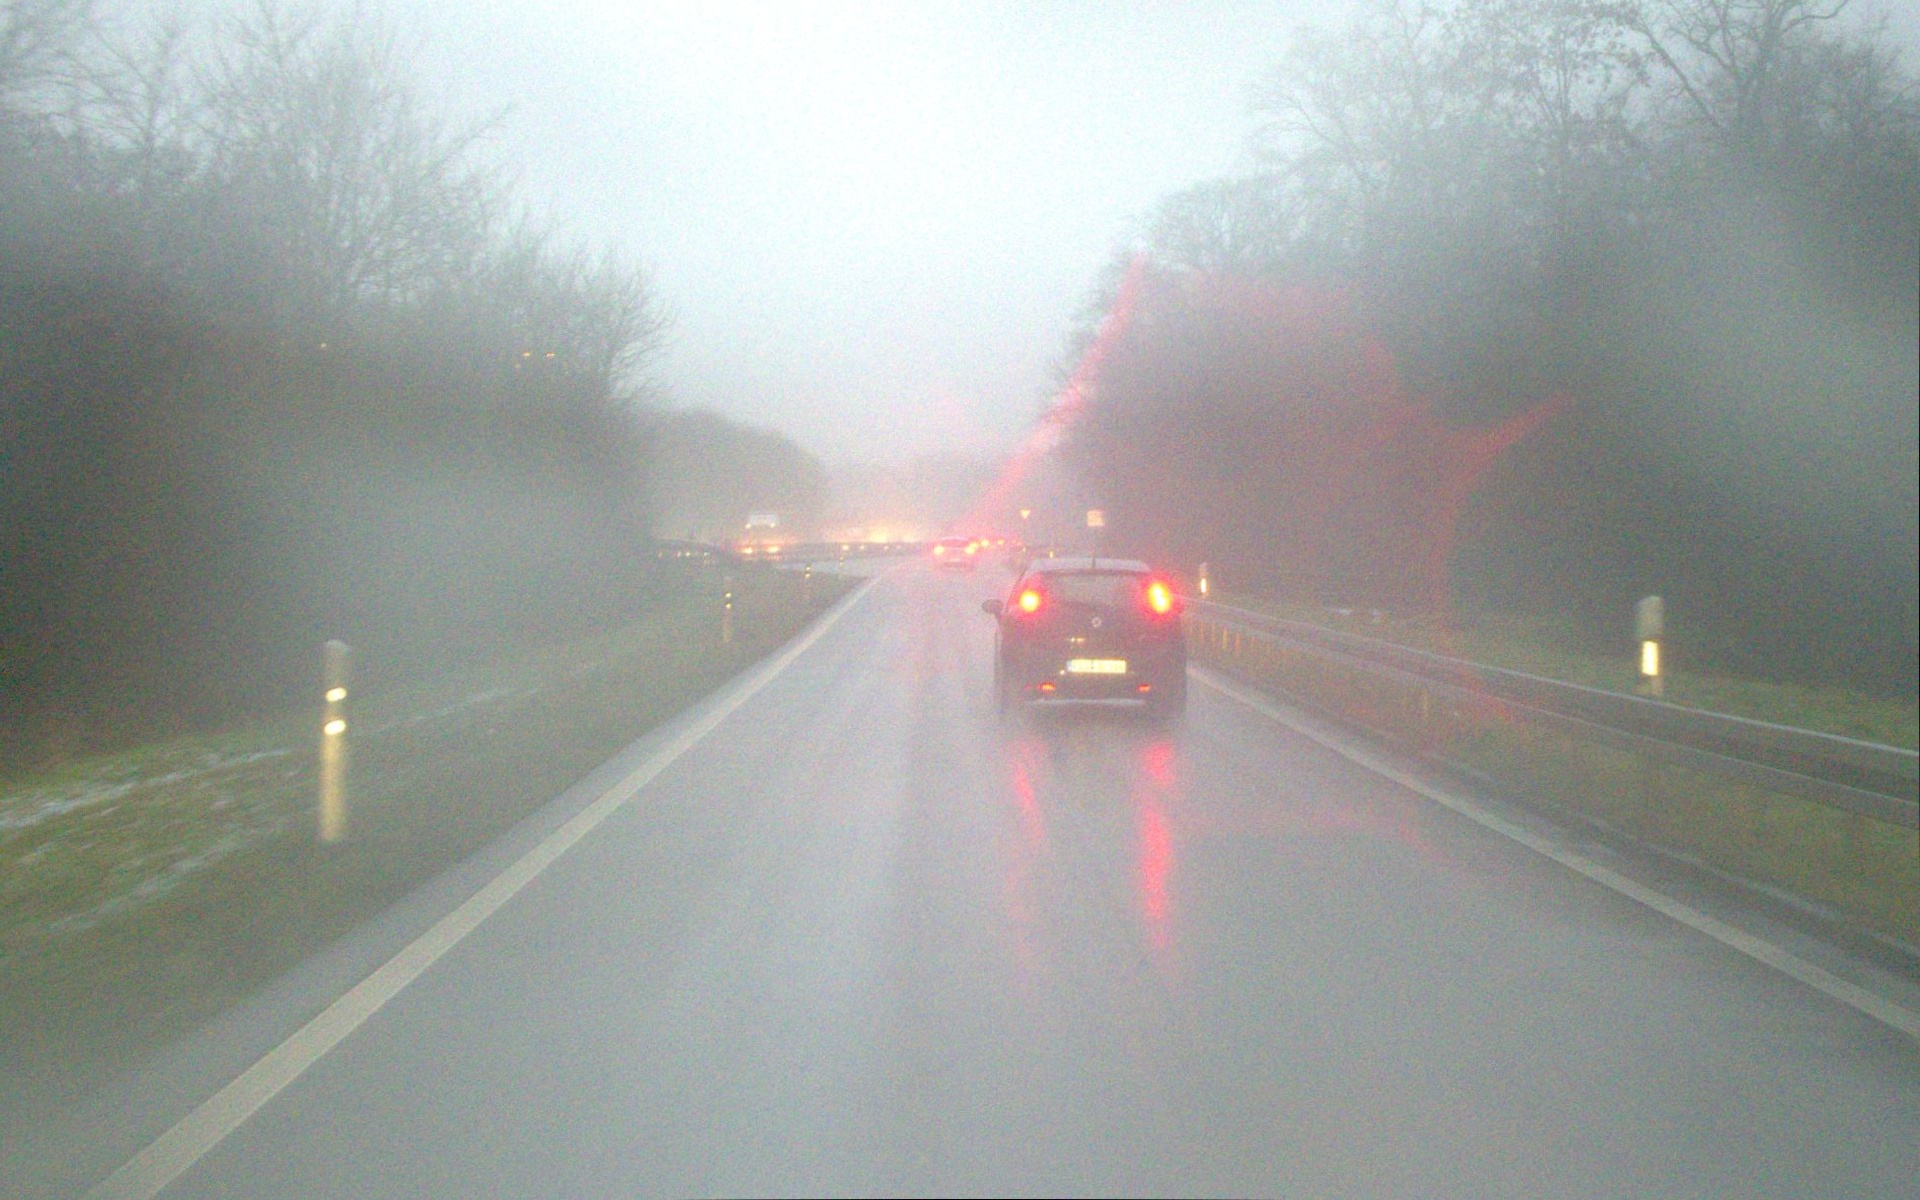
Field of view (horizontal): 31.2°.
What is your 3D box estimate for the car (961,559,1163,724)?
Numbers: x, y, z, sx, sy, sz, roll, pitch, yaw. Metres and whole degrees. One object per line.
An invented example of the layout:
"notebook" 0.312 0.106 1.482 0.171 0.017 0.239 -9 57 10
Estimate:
"car" 0.915 0.367 32.728 1.732 1.424 3.765 -2 0 -1
